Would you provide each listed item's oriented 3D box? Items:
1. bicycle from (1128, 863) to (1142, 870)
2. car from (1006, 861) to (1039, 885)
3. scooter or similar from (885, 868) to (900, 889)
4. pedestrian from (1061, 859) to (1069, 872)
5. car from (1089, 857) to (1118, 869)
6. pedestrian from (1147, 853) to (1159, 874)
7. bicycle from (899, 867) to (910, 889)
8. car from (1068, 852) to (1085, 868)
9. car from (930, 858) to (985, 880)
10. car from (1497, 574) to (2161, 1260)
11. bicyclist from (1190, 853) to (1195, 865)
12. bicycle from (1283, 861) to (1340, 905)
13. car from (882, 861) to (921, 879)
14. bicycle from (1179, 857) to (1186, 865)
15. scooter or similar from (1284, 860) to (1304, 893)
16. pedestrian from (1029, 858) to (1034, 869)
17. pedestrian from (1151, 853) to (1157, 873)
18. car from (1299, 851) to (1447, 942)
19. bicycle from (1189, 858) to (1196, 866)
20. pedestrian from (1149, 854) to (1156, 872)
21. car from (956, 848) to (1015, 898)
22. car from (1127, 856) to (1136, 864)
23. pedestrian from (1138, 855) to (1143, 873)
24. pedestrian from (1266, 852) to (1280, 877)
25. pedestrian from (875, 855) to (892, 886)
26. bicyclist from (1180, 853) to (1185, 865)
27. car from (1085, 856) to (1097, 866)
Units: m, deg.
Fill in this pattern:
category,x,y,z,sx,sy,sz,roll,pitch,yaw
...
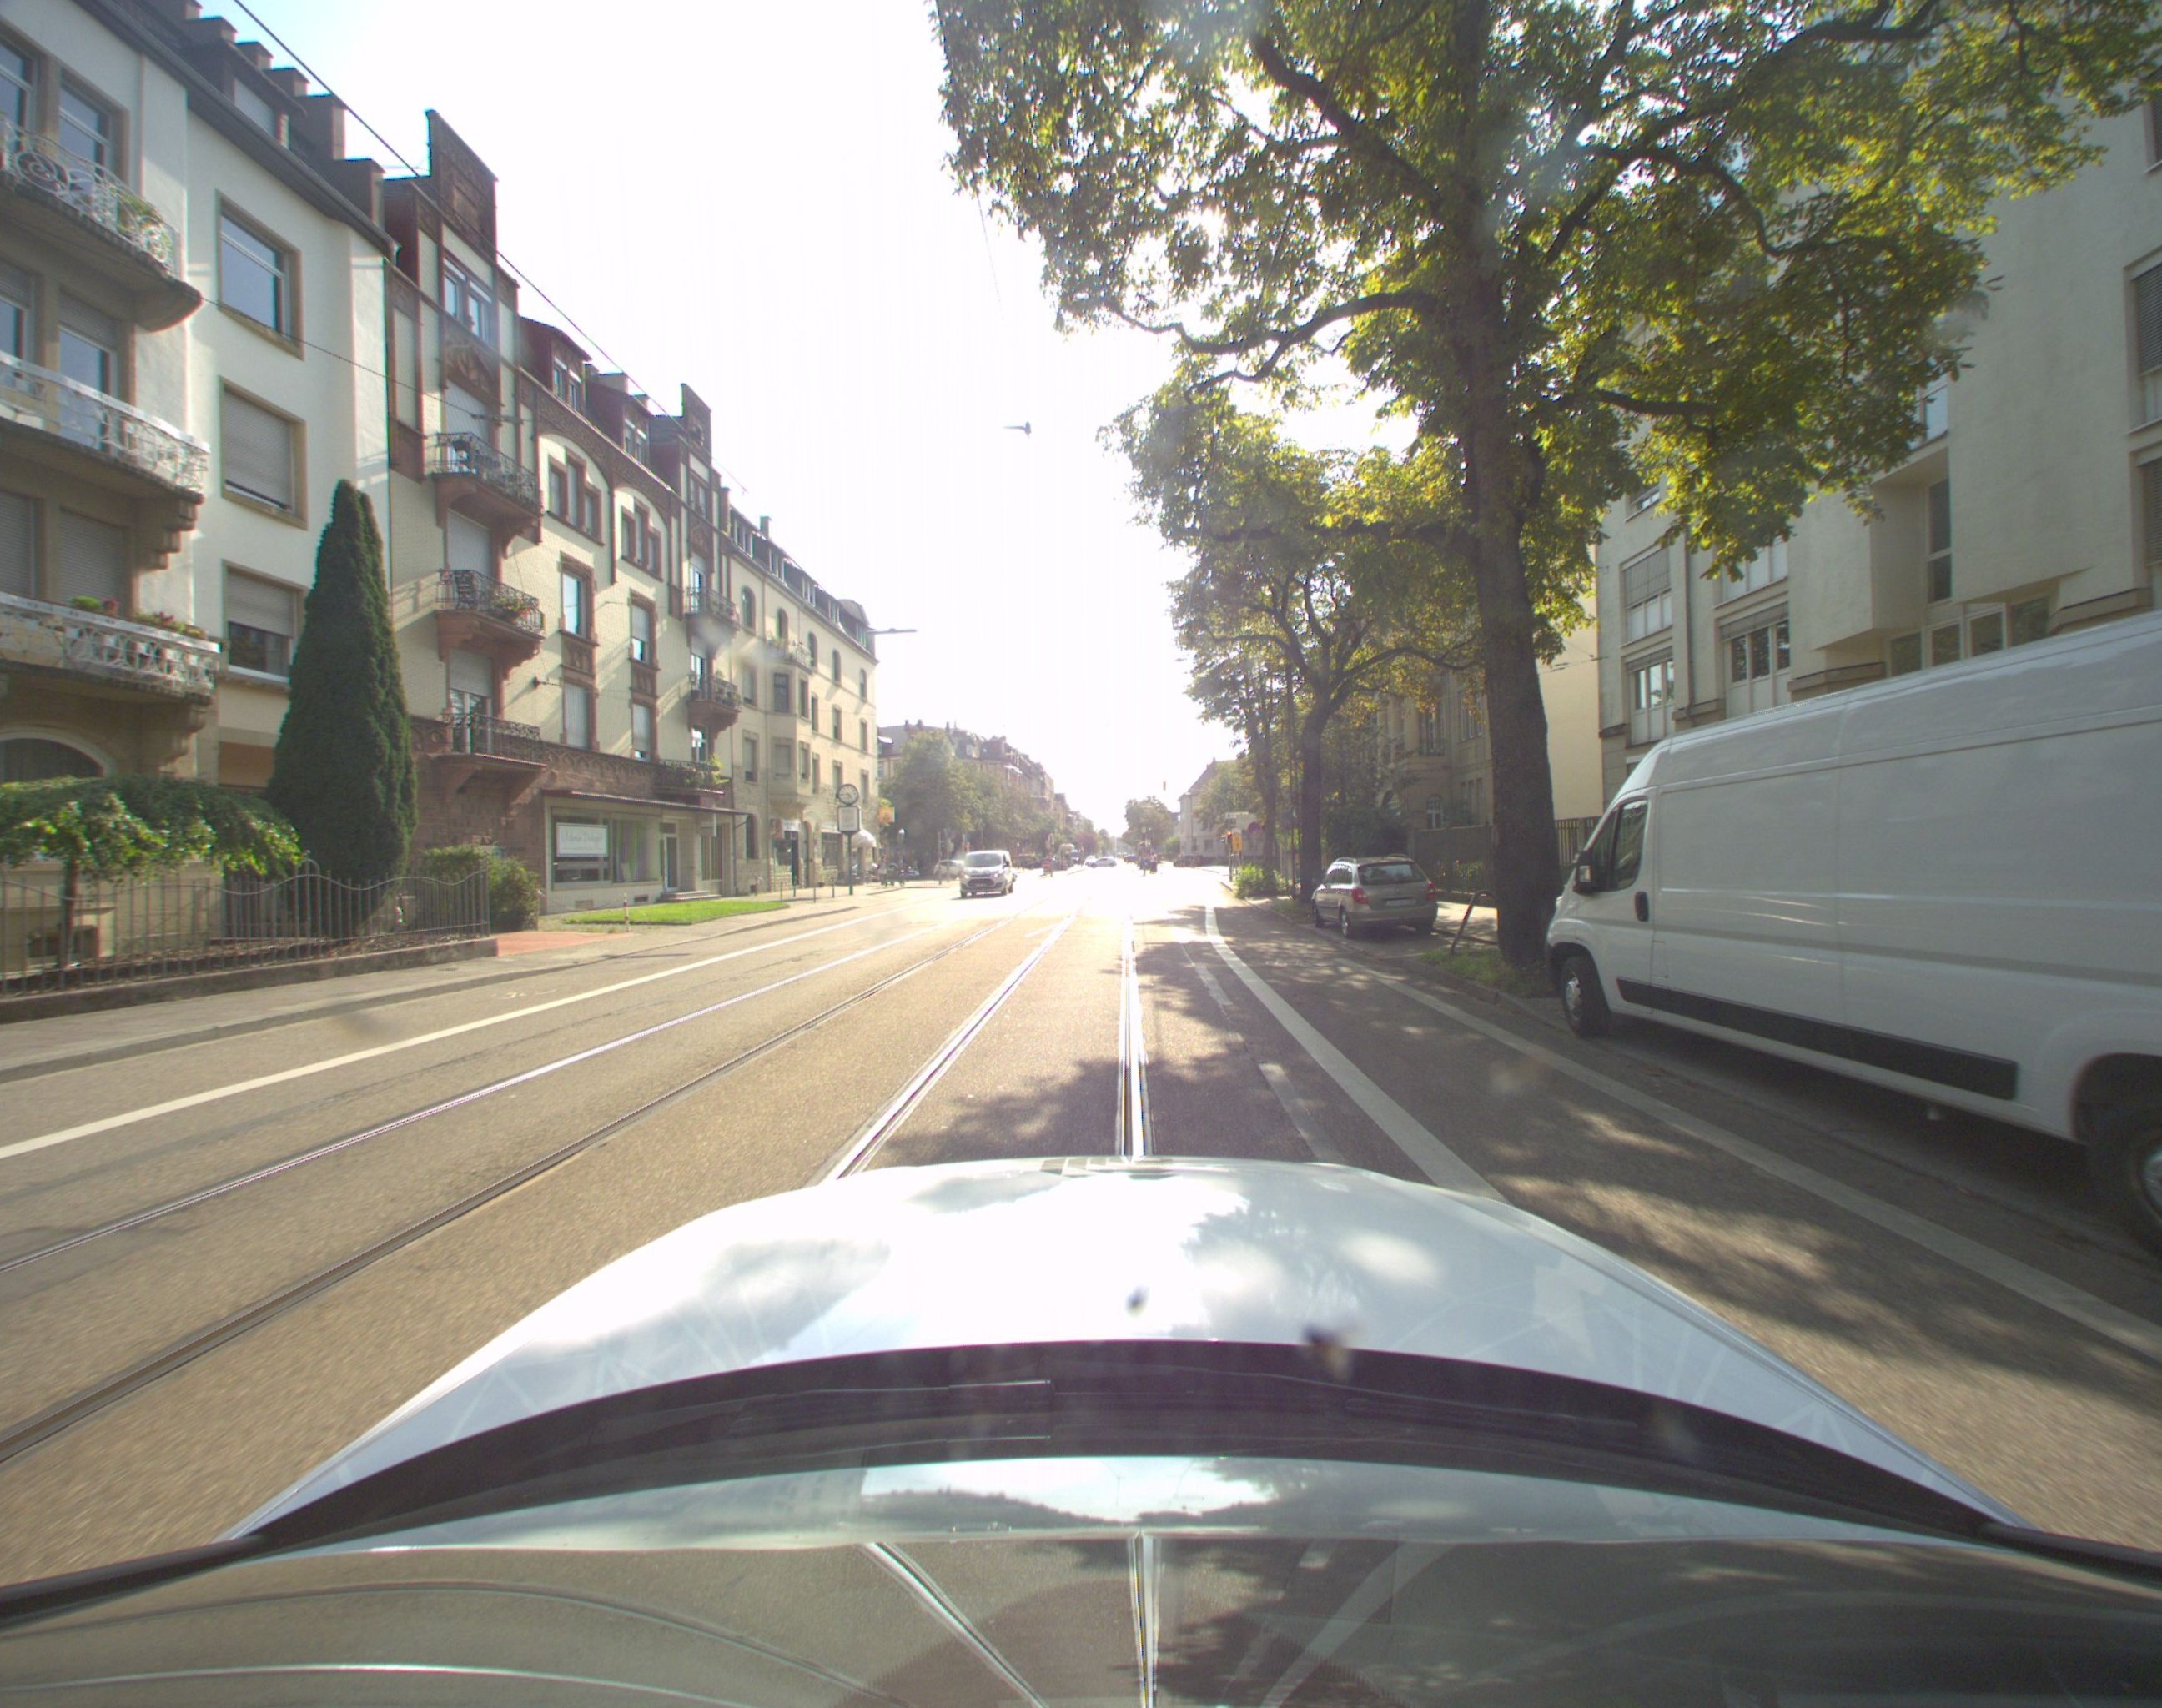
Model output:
category,x,y,z,sx,sy,sz,roll,pitch,yaw
bicycle,7.439,1.698,112.666,1.841,0.958,0.549,-2,0,6
car,-4.098,1.286,57.307,1.866,1.454,4.544,-4,0,0
scooter or similar,-11.034,1.418,47.648,0.368,1.197,1.021,-1,-1,-43
pedestrian,-1.702,1.226,86.071,0.825,1.359,0.776,-1,-1,-1
car,3.107,1.244,111.833,3.945,1.552,2.003,-2,0,5
pedestrian,6.088,0.834,68.935,0.693,1.725,0.753,2,2,36
bicycle,-10.427,1.413,48.154,0.452,1.226,1.853,-2,0,-6
car,-0.792,1.090,145.602,2.334,2.662,5.115,-1,-1,7
car,-9.935,1.198,65.275,4.276,1.630,2.013,-2,0,41
car,5.071,0.209,5.041,2.037,2.498,6.234,-2,0,3
bicyclist,13.588,0.626,99.422,0.556,1.417,0.872,-2,0,2
bicycle,6.922,0.855,24.416,1.851,1.166,0.499,-4,-5,-37
car,-15.565,1.342,70.418,1.876,1.466,4.740,-1,0,-30
bicycle,12.464,0.897,100.021,0.626,0.978,1.771,-2,0,2
scooter or similar,8.247,0.865,31.562,0.554,1.197,1.037,-5,-1,9
pedestrian,-7.463,1.450,123.163,0.527,1.690,0.548,2,2,24
pedestrian,6.537,0.813,73.186,0.502,1.833,0.534,1,2,4
car,5.805,0.776,16.765,1.600,1.524,4.361,-5,-1,3
bicycle,13.603,0.998,99.404,0.556,0.978,1.857,-2,0,2
pedestrian,7.202,0.884,82.071,0.706,1.759,0.534,1,2,3
car,-4.176,0.808,36.330,1.987,2.013,4.859,-2,0,0
car,9.969,1.186,160.741,1.793,1.653,3.647,-1,0,5
pedestrian,6.133,1.028,84.179,0.530,1.759,0.545,1,2,5
pedestrian,13.630,0.752,57.807,0.749,1.731,0.770,-1,-1,-5
pedestrian,-12.000,1.014,49.547,0.771,1.859,0.830,-1,-1,1
bicyclist,12.463,0.617,100.021,0.626,1.507,0.679,-2,-1,2
car,1.767,1.200,141.652,1.793,1.653,3.647,-1,0,5
